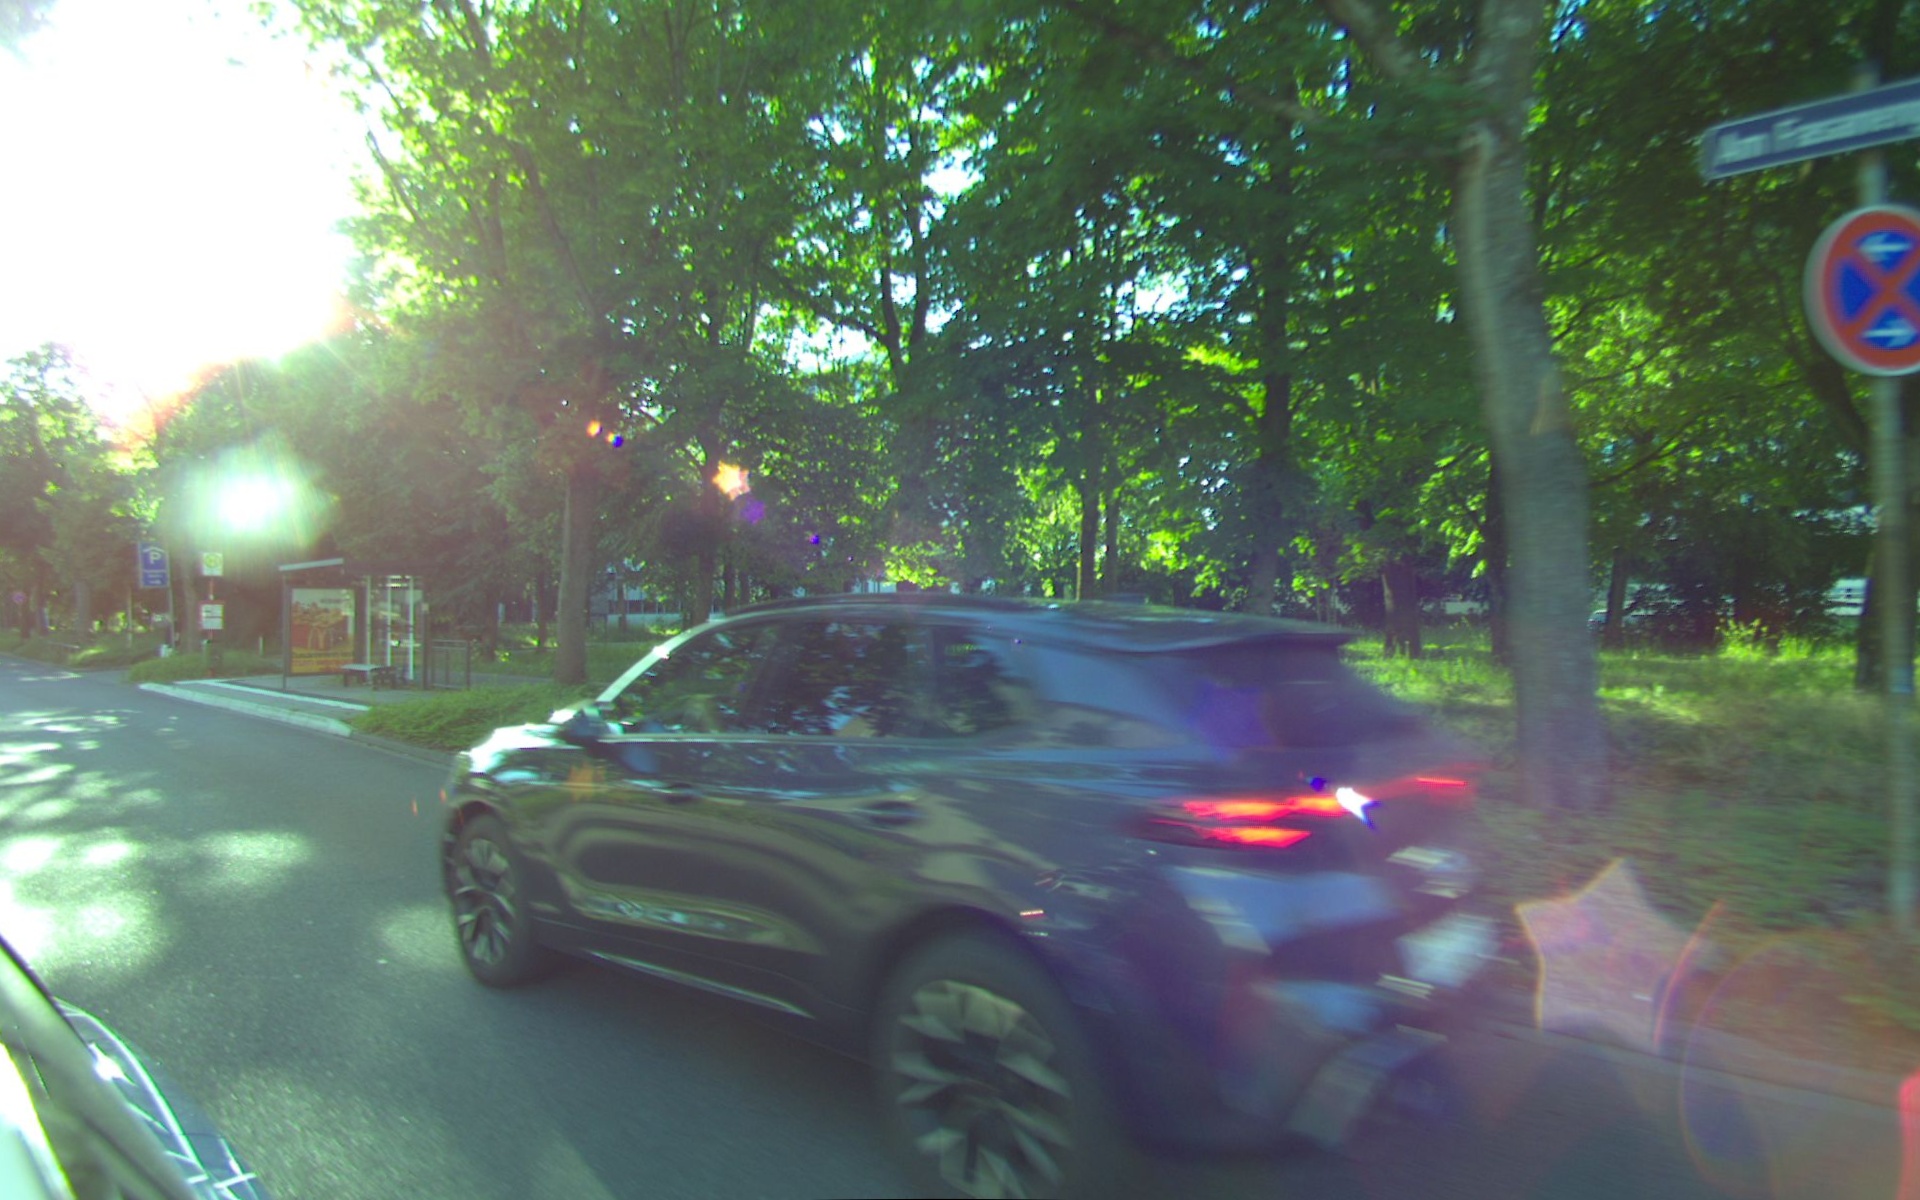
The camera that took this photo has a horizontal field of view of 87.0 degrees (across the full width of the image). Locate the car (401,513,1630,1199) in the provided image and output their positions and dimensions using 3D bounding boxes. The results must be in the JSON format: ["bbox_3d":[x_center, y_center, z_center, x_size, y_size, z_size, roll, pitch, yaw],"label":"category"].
[{"bbox_3d":[-0.217,0.729,3.769,4.332,1.591,1.825,-2,-3,40],"label":"car"}]

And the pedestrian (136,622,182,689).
[{"bbox_3d":[-22.693,1.565,28.679,0.720,1.835,0.894,-2,-1,40],"label":"pedestrian"}]
